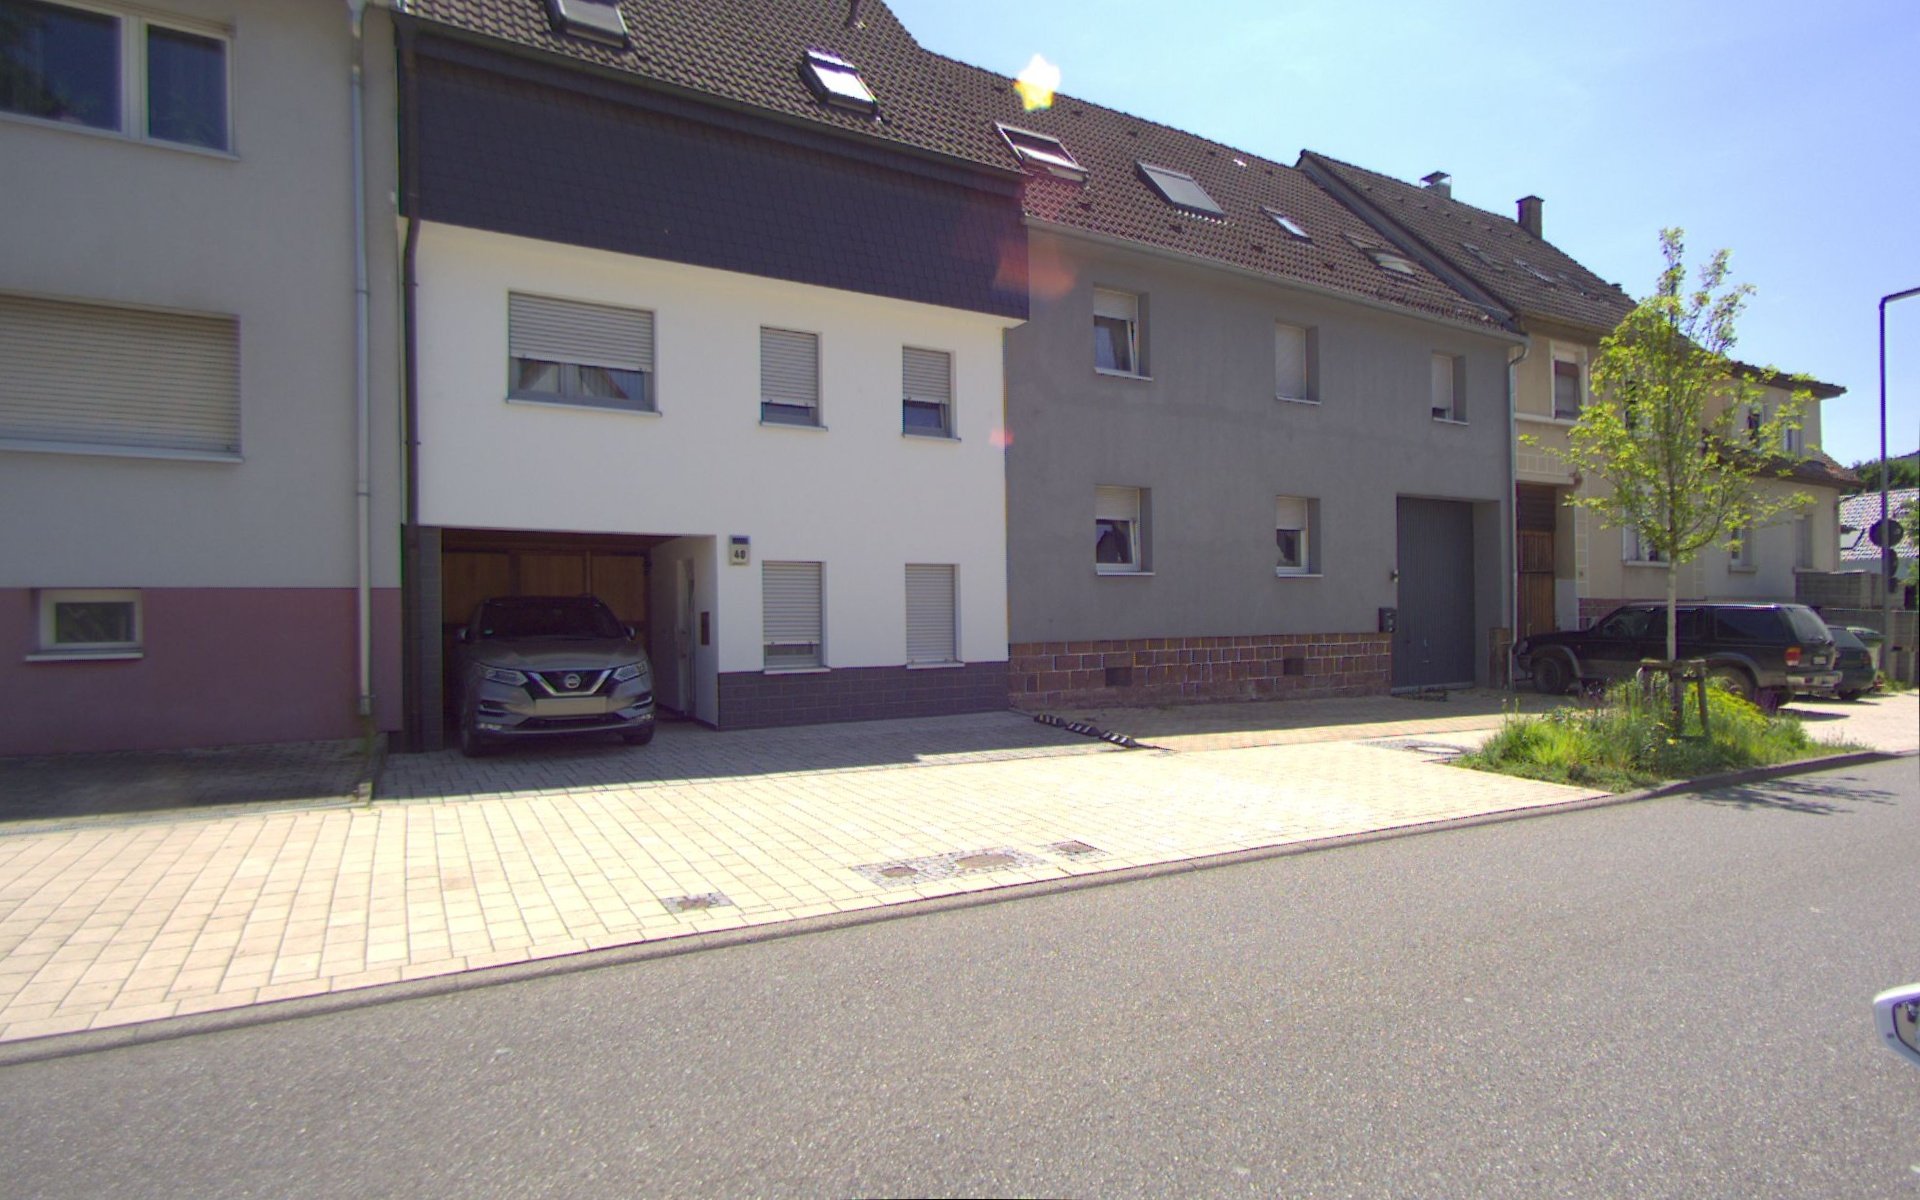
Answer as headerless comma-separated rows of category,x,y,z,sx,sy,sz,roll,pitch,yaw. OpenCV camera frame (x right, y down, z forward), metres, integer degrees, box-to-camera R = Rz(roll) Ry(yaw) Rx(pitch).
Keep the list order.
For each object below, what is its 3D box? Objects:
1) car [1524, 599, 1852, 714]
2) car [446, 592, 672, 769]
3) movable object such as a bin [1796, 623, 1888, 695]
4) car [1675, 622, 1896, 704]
car,12.725,0.914,17.868,1.856,1.773,4.373,1,-1,-30
car,-4.571,0.730,11.097,1.810,1.566,3.969,1,-1,-29
movable object such as a bin,18.026,1.175,20.532,1.385,1.337,0.986,-2,1,-27
car,16.247,1.179,20.014,1.664,1.458,3.553,0,-1,4
